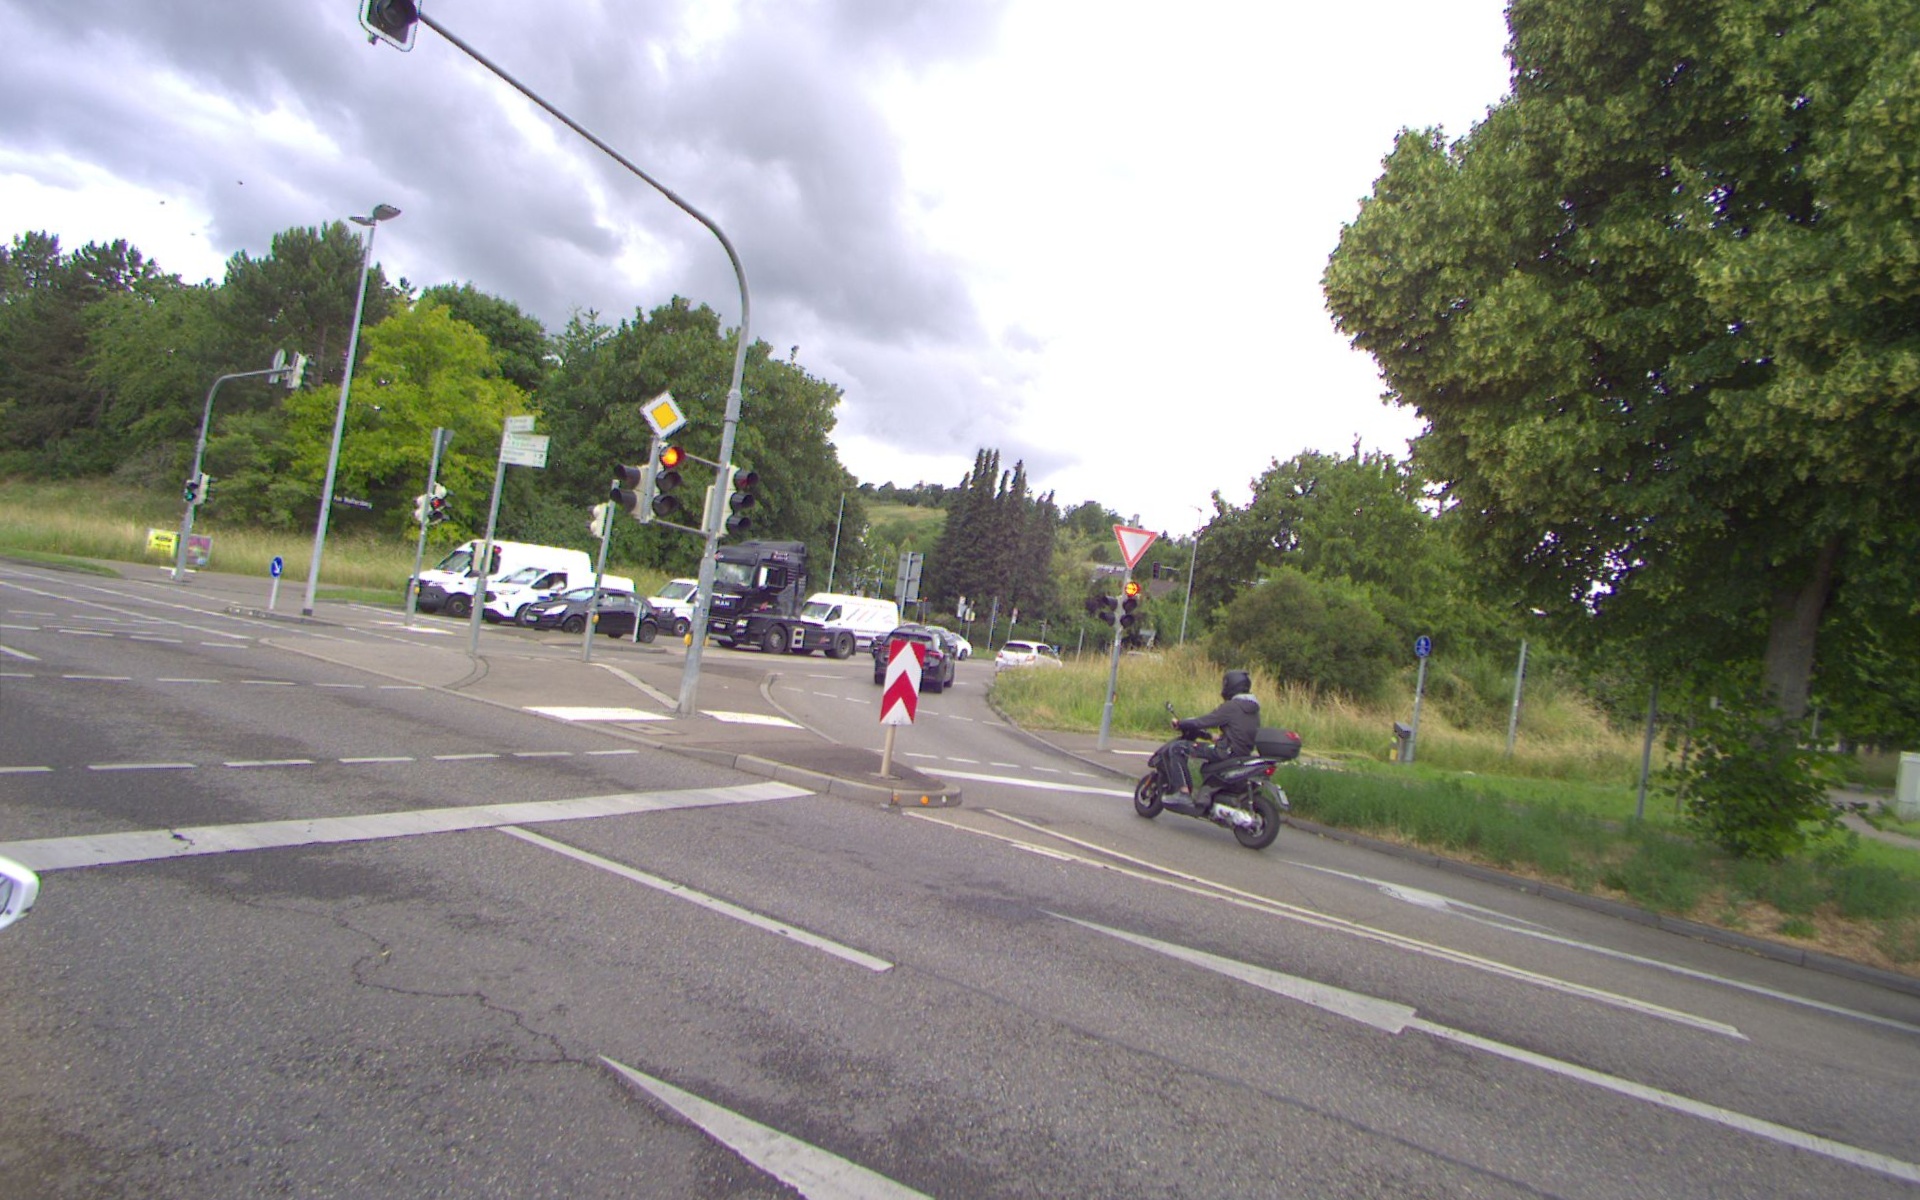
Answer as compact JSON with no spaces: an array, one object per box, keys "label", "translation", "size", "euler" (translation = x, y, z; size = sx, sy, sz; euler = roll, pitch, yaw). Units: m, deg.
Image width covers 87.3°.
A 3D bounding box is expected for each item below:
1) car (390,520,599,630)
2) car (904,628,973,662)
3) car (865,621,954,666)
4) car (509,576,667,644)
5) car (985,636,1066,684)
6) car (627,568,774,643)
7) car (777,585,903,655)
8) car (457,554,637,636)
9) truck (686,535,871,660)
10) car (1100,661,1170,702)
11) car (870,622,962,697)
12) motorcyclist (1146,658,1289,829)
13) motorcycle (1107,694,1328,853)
[{"label":"car","translation":[-15.332,-0.734,33.597],"size":[2.100,2.814,5.903],"euler":[7,-1,32]},{"label":"car","translation":[-1.127,2.478,54.910],"size":[1.704,1.453,3.925],"euler":[7,-1,33]},{"label":"car","translation":[-2.050,1.839,42.081],"size":[1.703,1.453,3.927],"euler":[7,-1,31]},{"label":"car","translation":[-10.602,0.338,28.929],"size":[1.703,1.453,3.927],"euler":[7,-1,31]},{"label":"car","translation":[2.544,2.272,38.048],"size":[1.754,1.460,3.834],"euler":[9,0,23]},{"label":"car","translation":[-10.422,0.292,40.904],"size":[2.100,2.316,5.709],"euler":[7,-1,32]},{"label":"car","translation":[-5.662,1.054,48.619],"size":[2.160,2.640,6.509],"euler":[7,-1,32]},{"label":"car","translation":[-12.929,-0.093,31.815],"size":[1.999,1.918,4.862],"euler":[7,-1,31]},{"label":"truck","translation":[-6.207,0.027,35.340],"size":[2.682,3.580,6.061],"euler":[7,-1,32]},{"label":"car","translation":[8.634,4.024,49.339],"size":[1.757,1.667,4.422],"euler":[5,-4,31]},{"label":"car","translation":[-1.047,1.466,26.228],"size":[1.753,1.463,4.529],"euler":[9,0,3]},{"label":"motorcyclist","translation":[2.556,1.418,10.015],"size":[0.746,1.506,0.923],"euler":[11,-2,-40]},{"label":"motorcycle","translation":[2.508,1.685,10.006],"size":[0.746,1.159,1.921],"euler":[11,-3,-40]}]
